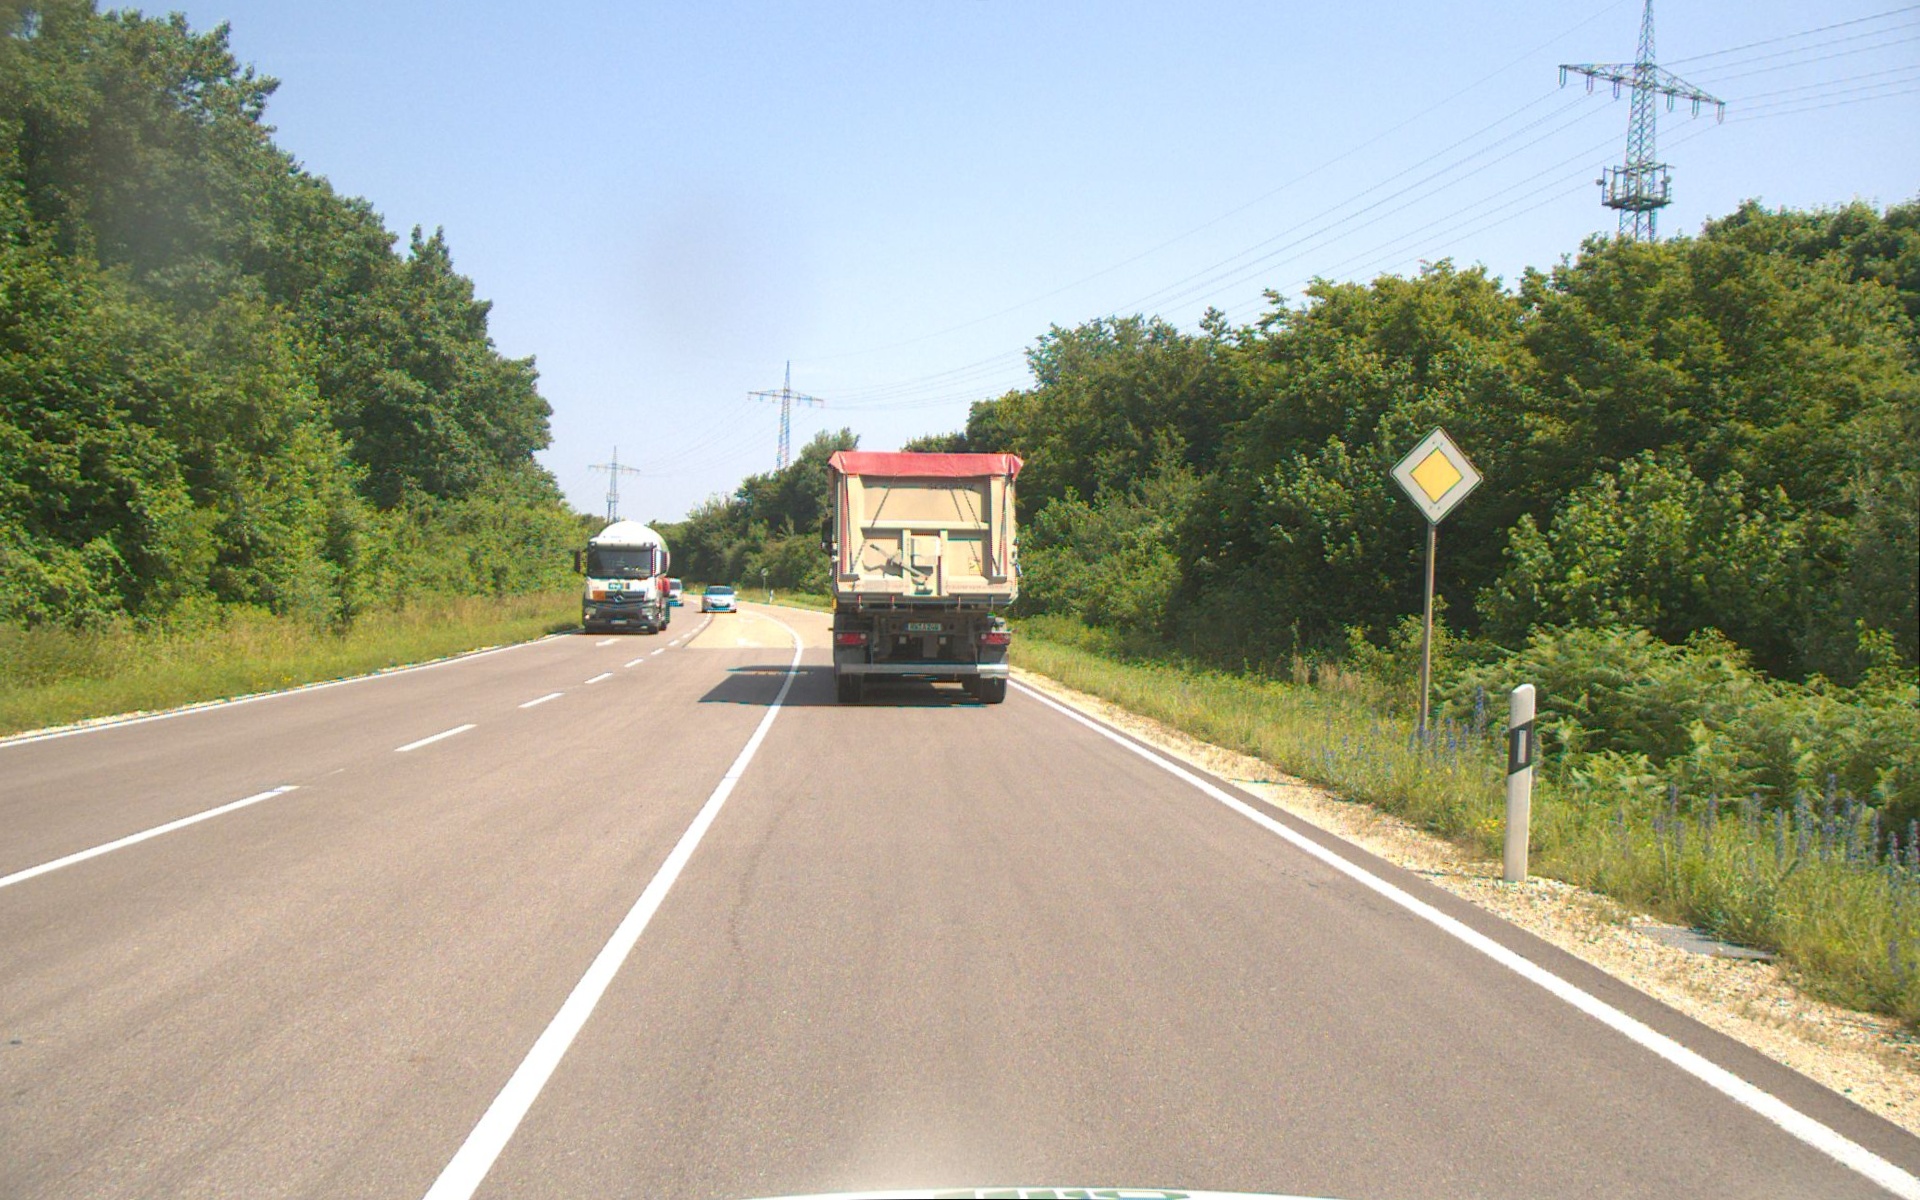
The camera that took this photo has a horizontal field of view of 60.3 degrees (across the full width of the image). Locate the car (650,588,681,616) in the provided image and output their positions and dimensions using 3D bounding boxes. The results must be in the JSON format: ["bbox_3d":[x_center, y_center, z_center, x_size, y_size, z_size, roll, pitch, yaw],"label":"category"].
[{"bbox_3d":[-19.469,0.170,109.442,1.808,1.810,4.884,1,-1,-8],"label":"car"}]

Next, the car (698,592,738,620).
[{"bbox_3d":[-12.982,0.358,88.790,1.674,1.444,4.096,1,-1,-2],"label":"car"}]

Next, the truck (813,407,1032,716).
[{"bbox_3d":[-0.884,-0.570,27.705,2.836,4.031,11.923,1,1,-4],"label":"truck"}]

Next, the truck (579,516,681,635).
[{"bbox_3d":[-11.164,-0.778,56.593,2.576,3.735,8.784,1,0,-6],"label":"truck"}]
